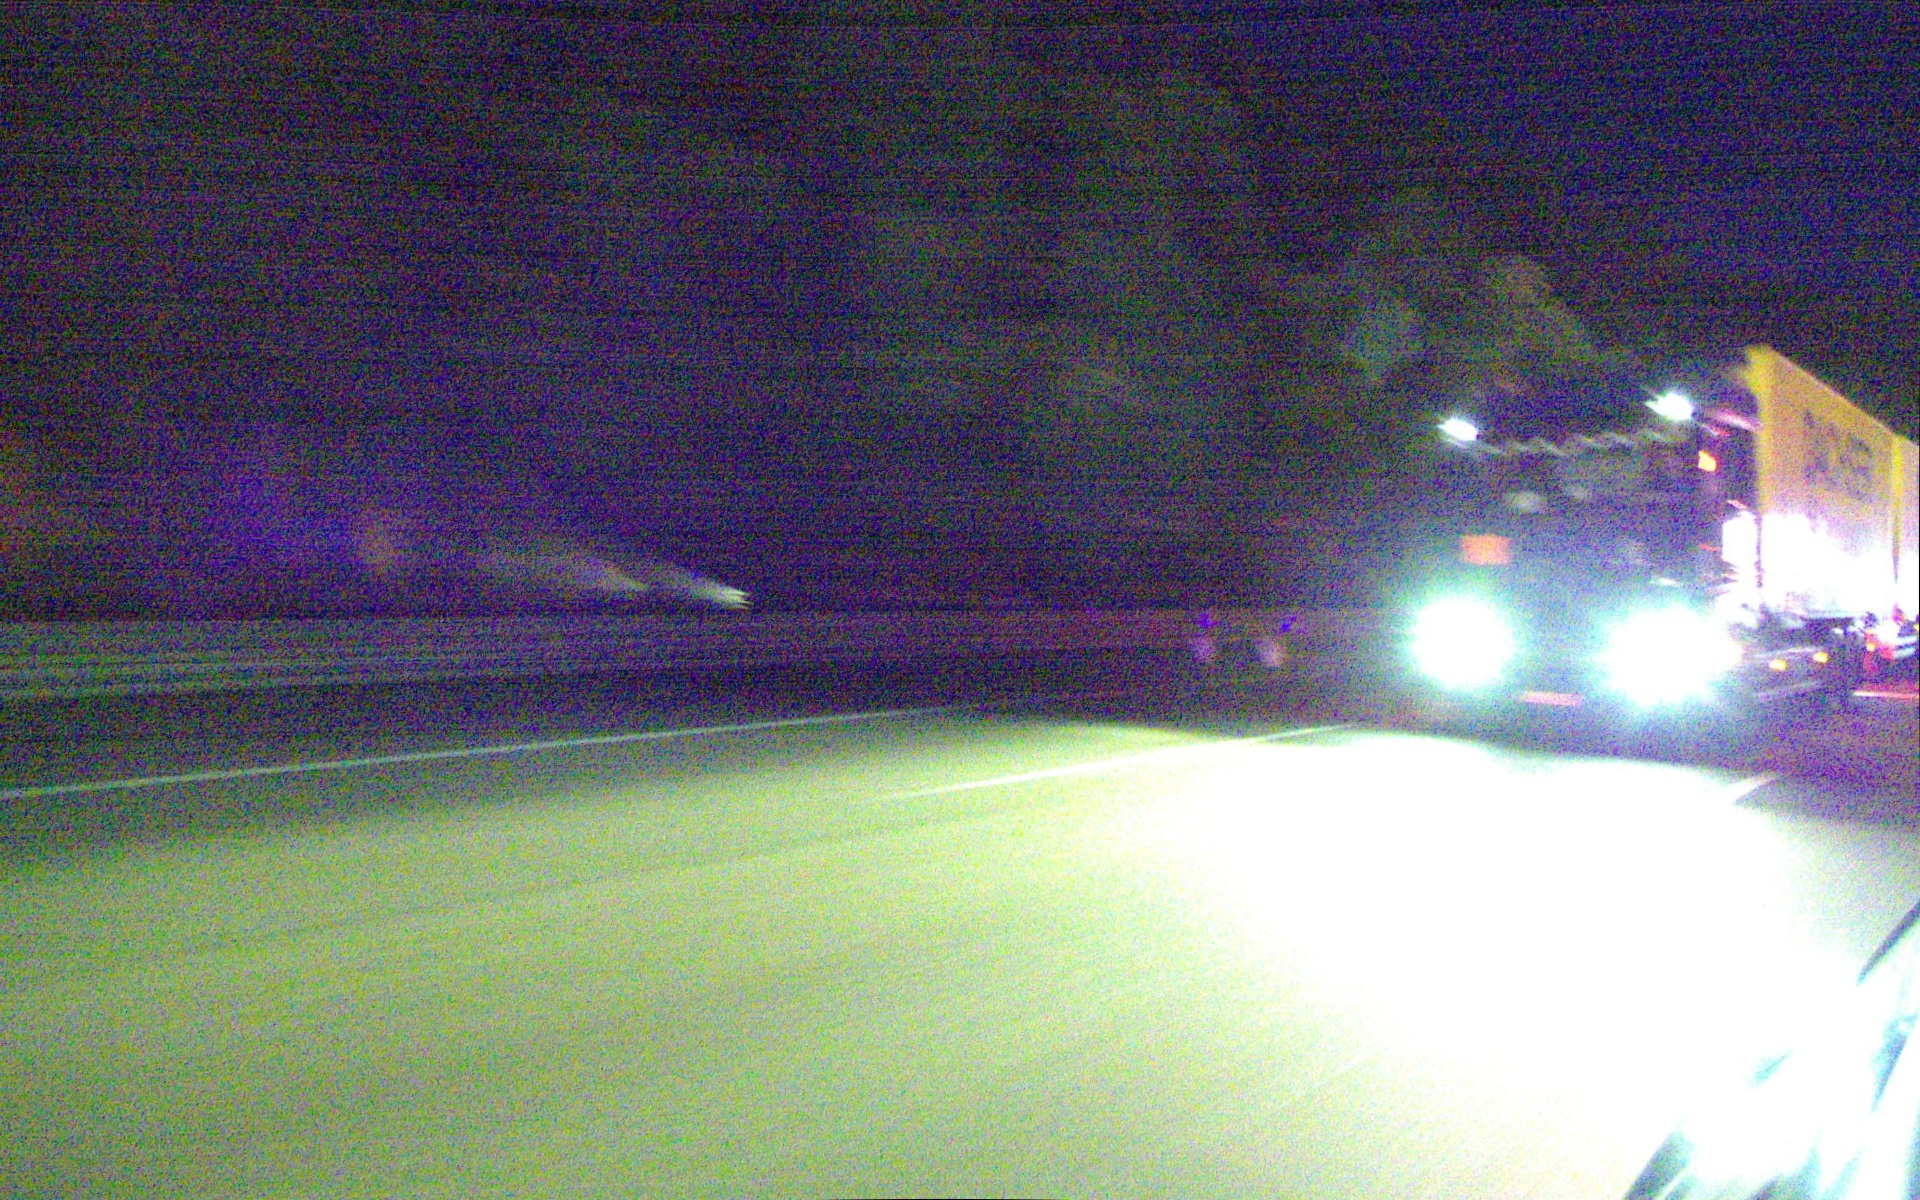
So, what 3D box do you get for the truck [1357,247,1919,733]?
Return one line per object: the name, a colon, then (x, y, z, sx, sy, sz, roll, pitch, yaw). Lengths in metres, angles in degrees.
truck: (12.719, -1.272, 15.940, 18.379, 4.186, 3.489, -3, 1, -40)
